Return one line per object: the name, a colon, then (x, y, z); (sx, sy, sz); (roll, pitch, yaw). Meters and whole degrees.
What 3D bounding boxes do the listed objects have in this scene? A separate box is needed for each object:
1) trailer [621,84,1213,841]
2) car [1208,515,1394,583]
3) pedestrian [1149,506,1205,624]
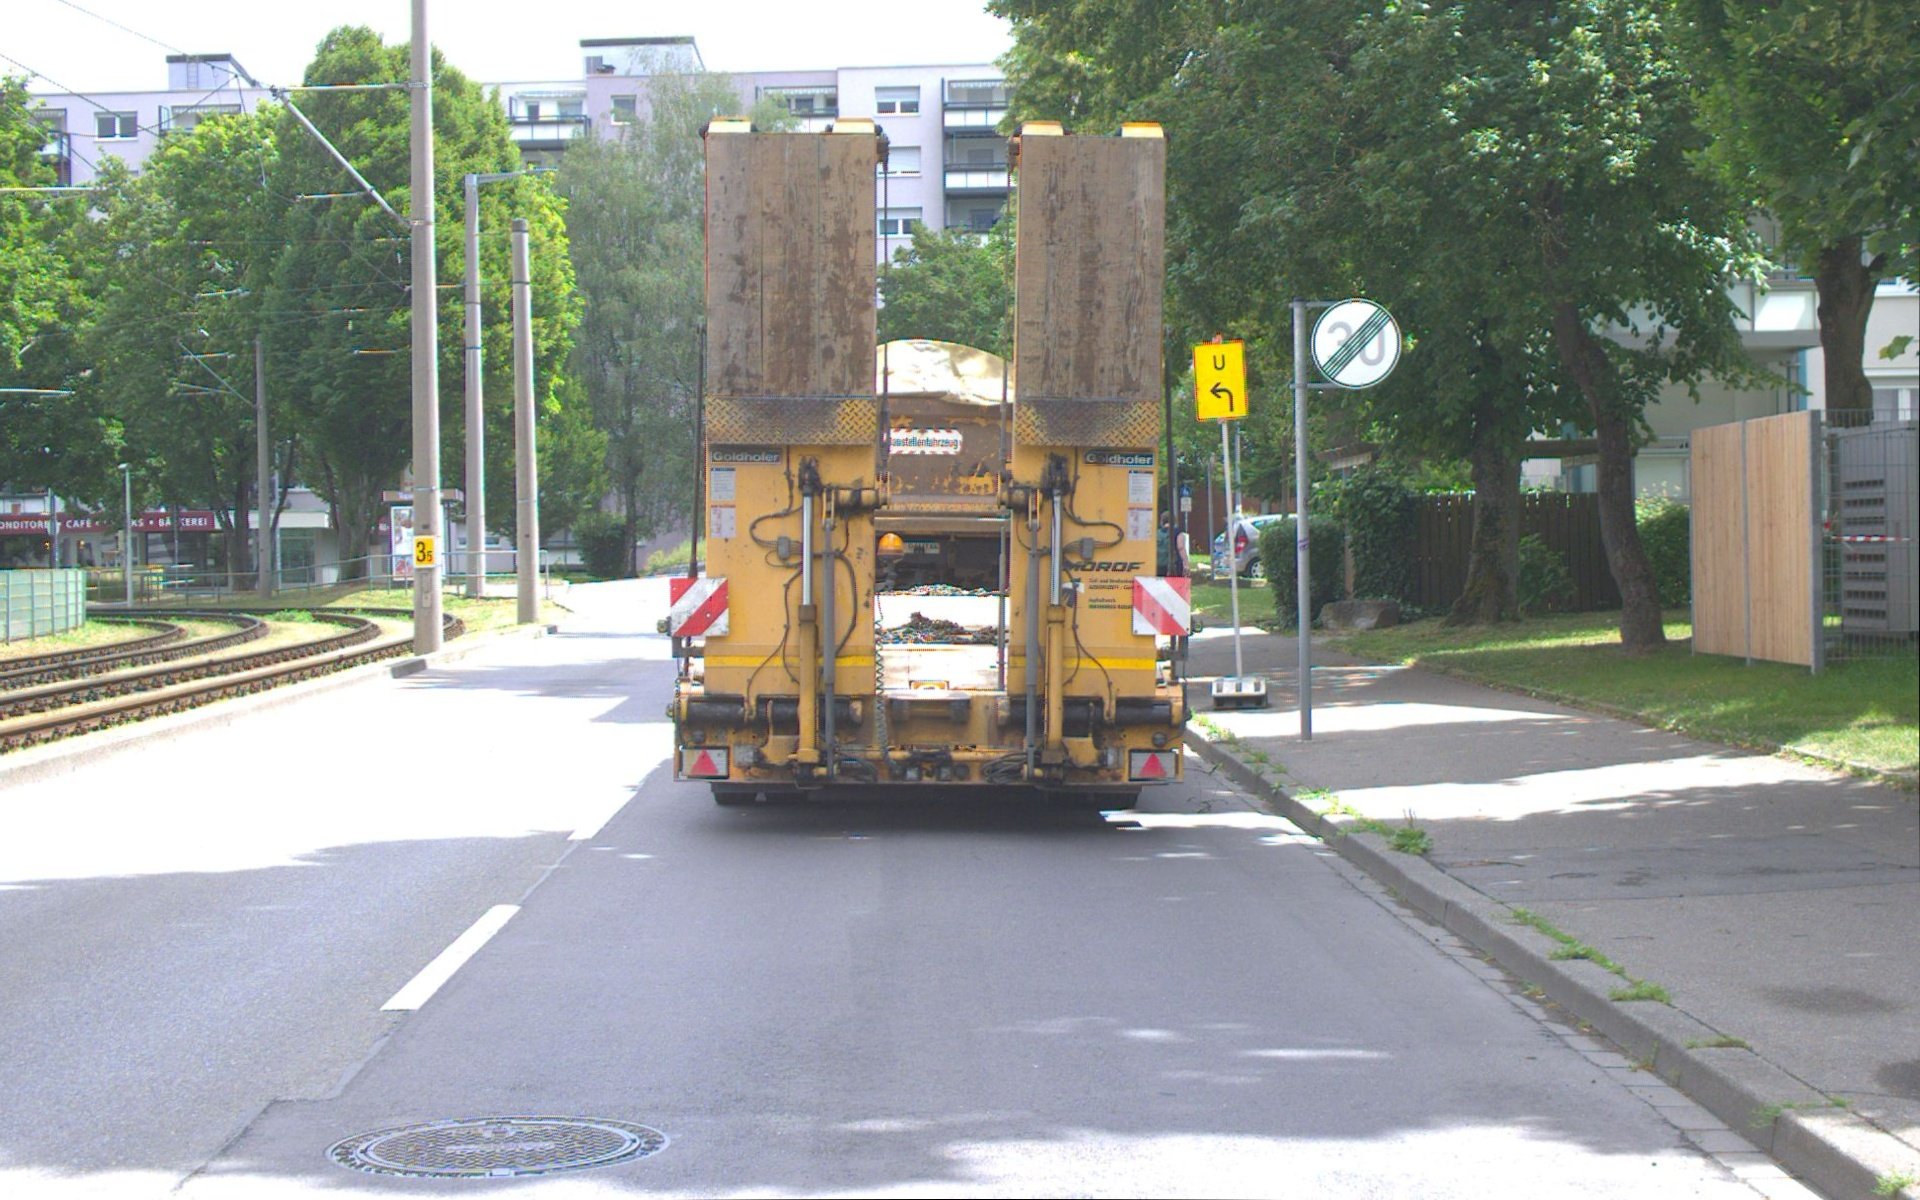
trailer: (-0.314, -0.787, 22.860); (2.827, 3.633, 12.355); (1, 1, -1)
car: (8.054, -1.209, 81.301); (3.986, 1.556, 1.760); (1, 1, -12)
pedestrian: (3.179, -0.518, 50.427); (0.718, 1.700, 0.766); (-2, 1, -1)
